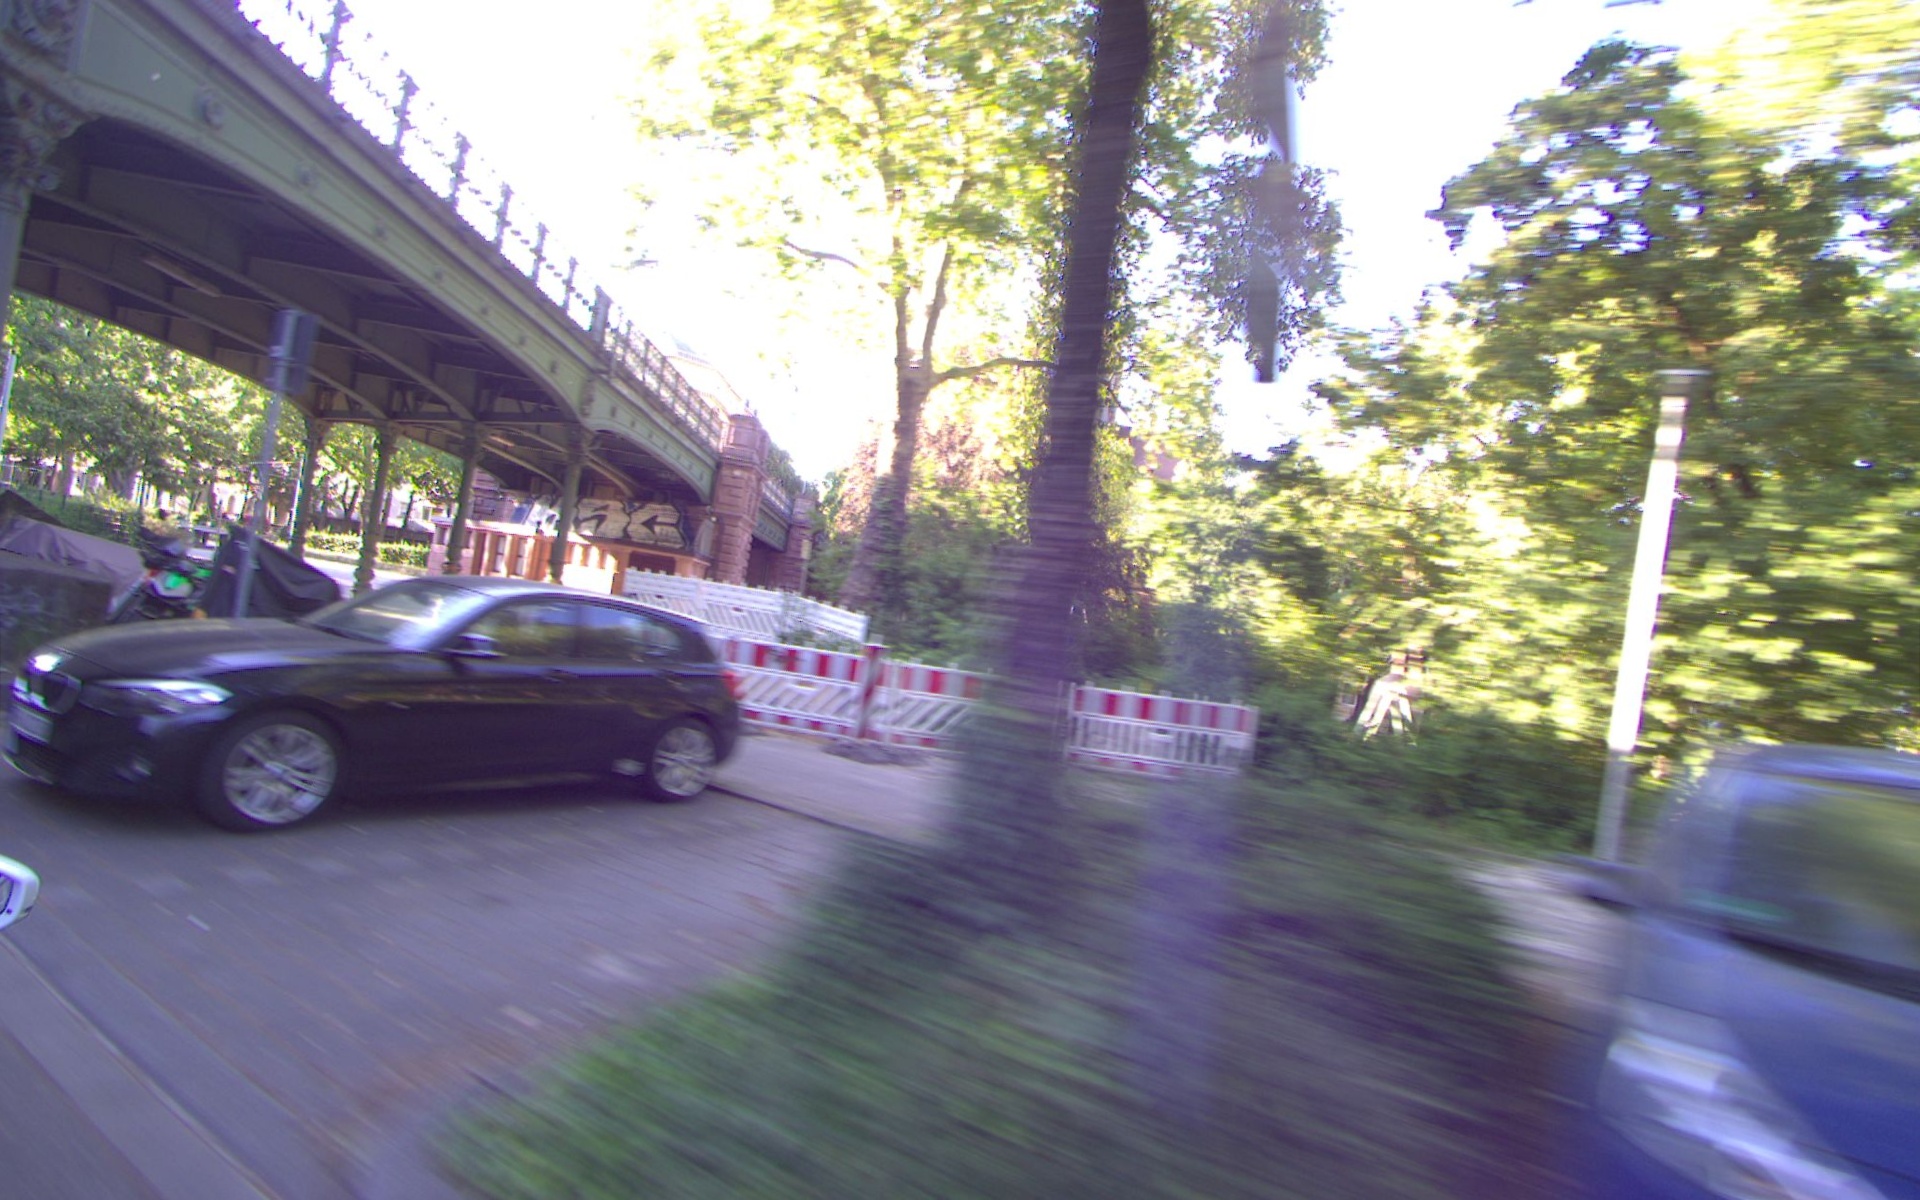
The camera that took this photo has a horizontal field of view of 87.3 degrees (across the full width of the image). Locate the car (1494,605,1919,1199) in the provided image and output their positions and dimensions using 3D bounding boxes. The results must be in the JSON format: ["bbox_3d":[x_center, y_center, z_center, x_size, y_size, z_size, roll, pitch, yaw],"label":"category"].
[{"bbox_3d":[2.963,1.166,3.081,1.708,1.623,4.592,6,-4,36],"label":"car"}]

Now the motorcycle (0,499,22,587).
[{"bbox_3d":[-16.473,-1.055,16.322,1.594,1.423,0.705,11,-4,-37],"label":"motorcycle"}]

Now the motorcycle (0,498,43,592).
[{"bbox_3d":[-15.733,-0.977,15.898,1.594,1.423,0.705,11,-4,-37],"label":"motorcycle"}]

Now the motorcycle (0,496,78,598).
[{"bbox_3d":[-14.748,-0.866,15.436,1.594,1.423,0.705,11,-4,-37],"label":"motorcycle"}]

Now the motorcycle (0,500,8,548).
[{"bbox_3d":[-17.271,-1.128,16.918,1.594,1.423,0.705,11,-4,-37],"label":"motorcycle"}]

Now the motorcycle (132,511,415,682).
[{"bbox_3d":[-6.075,0.043,9.091,0.887,1.251,1.941,8,-4,8],"label":"motorcycle"}]

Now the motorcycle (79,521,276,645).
[{"bbox_3d":[-8.654,-0.140,11.237,0.699,1.144,1.729,8,-4,-1],"label":"motorcycle"}]

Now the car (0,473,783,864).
[{"bbox_3d":[-3.292,0.519,6.432,1.647,1.593,4.388,6,-5,31],"label":"car"}]

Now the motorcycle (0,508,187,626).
[{"bbox_3d":[-10.723,-0.368,12.278,0.834,1.144,1.842,7,-4,10],"label":"motorcycle"}]

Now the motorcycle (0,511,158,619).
[{"bbox_3d":[-11.664,-0.442,13.143,0.699,1.144,1.609,7,-4,17],"label":"motorcycle"}]

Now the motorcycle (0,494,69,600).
[{"bbox_3d":[-14.192,-0.844,14.644,1.594,1.423,0.705,11,-4,-37],"label":"motorcycle"}]

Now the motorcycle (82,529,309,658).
[{"bbox_3d":[-7.484,-0.009,9.983,0.798,1.040,1.729,8,-4,-1],"label":"motorcycle"}]
